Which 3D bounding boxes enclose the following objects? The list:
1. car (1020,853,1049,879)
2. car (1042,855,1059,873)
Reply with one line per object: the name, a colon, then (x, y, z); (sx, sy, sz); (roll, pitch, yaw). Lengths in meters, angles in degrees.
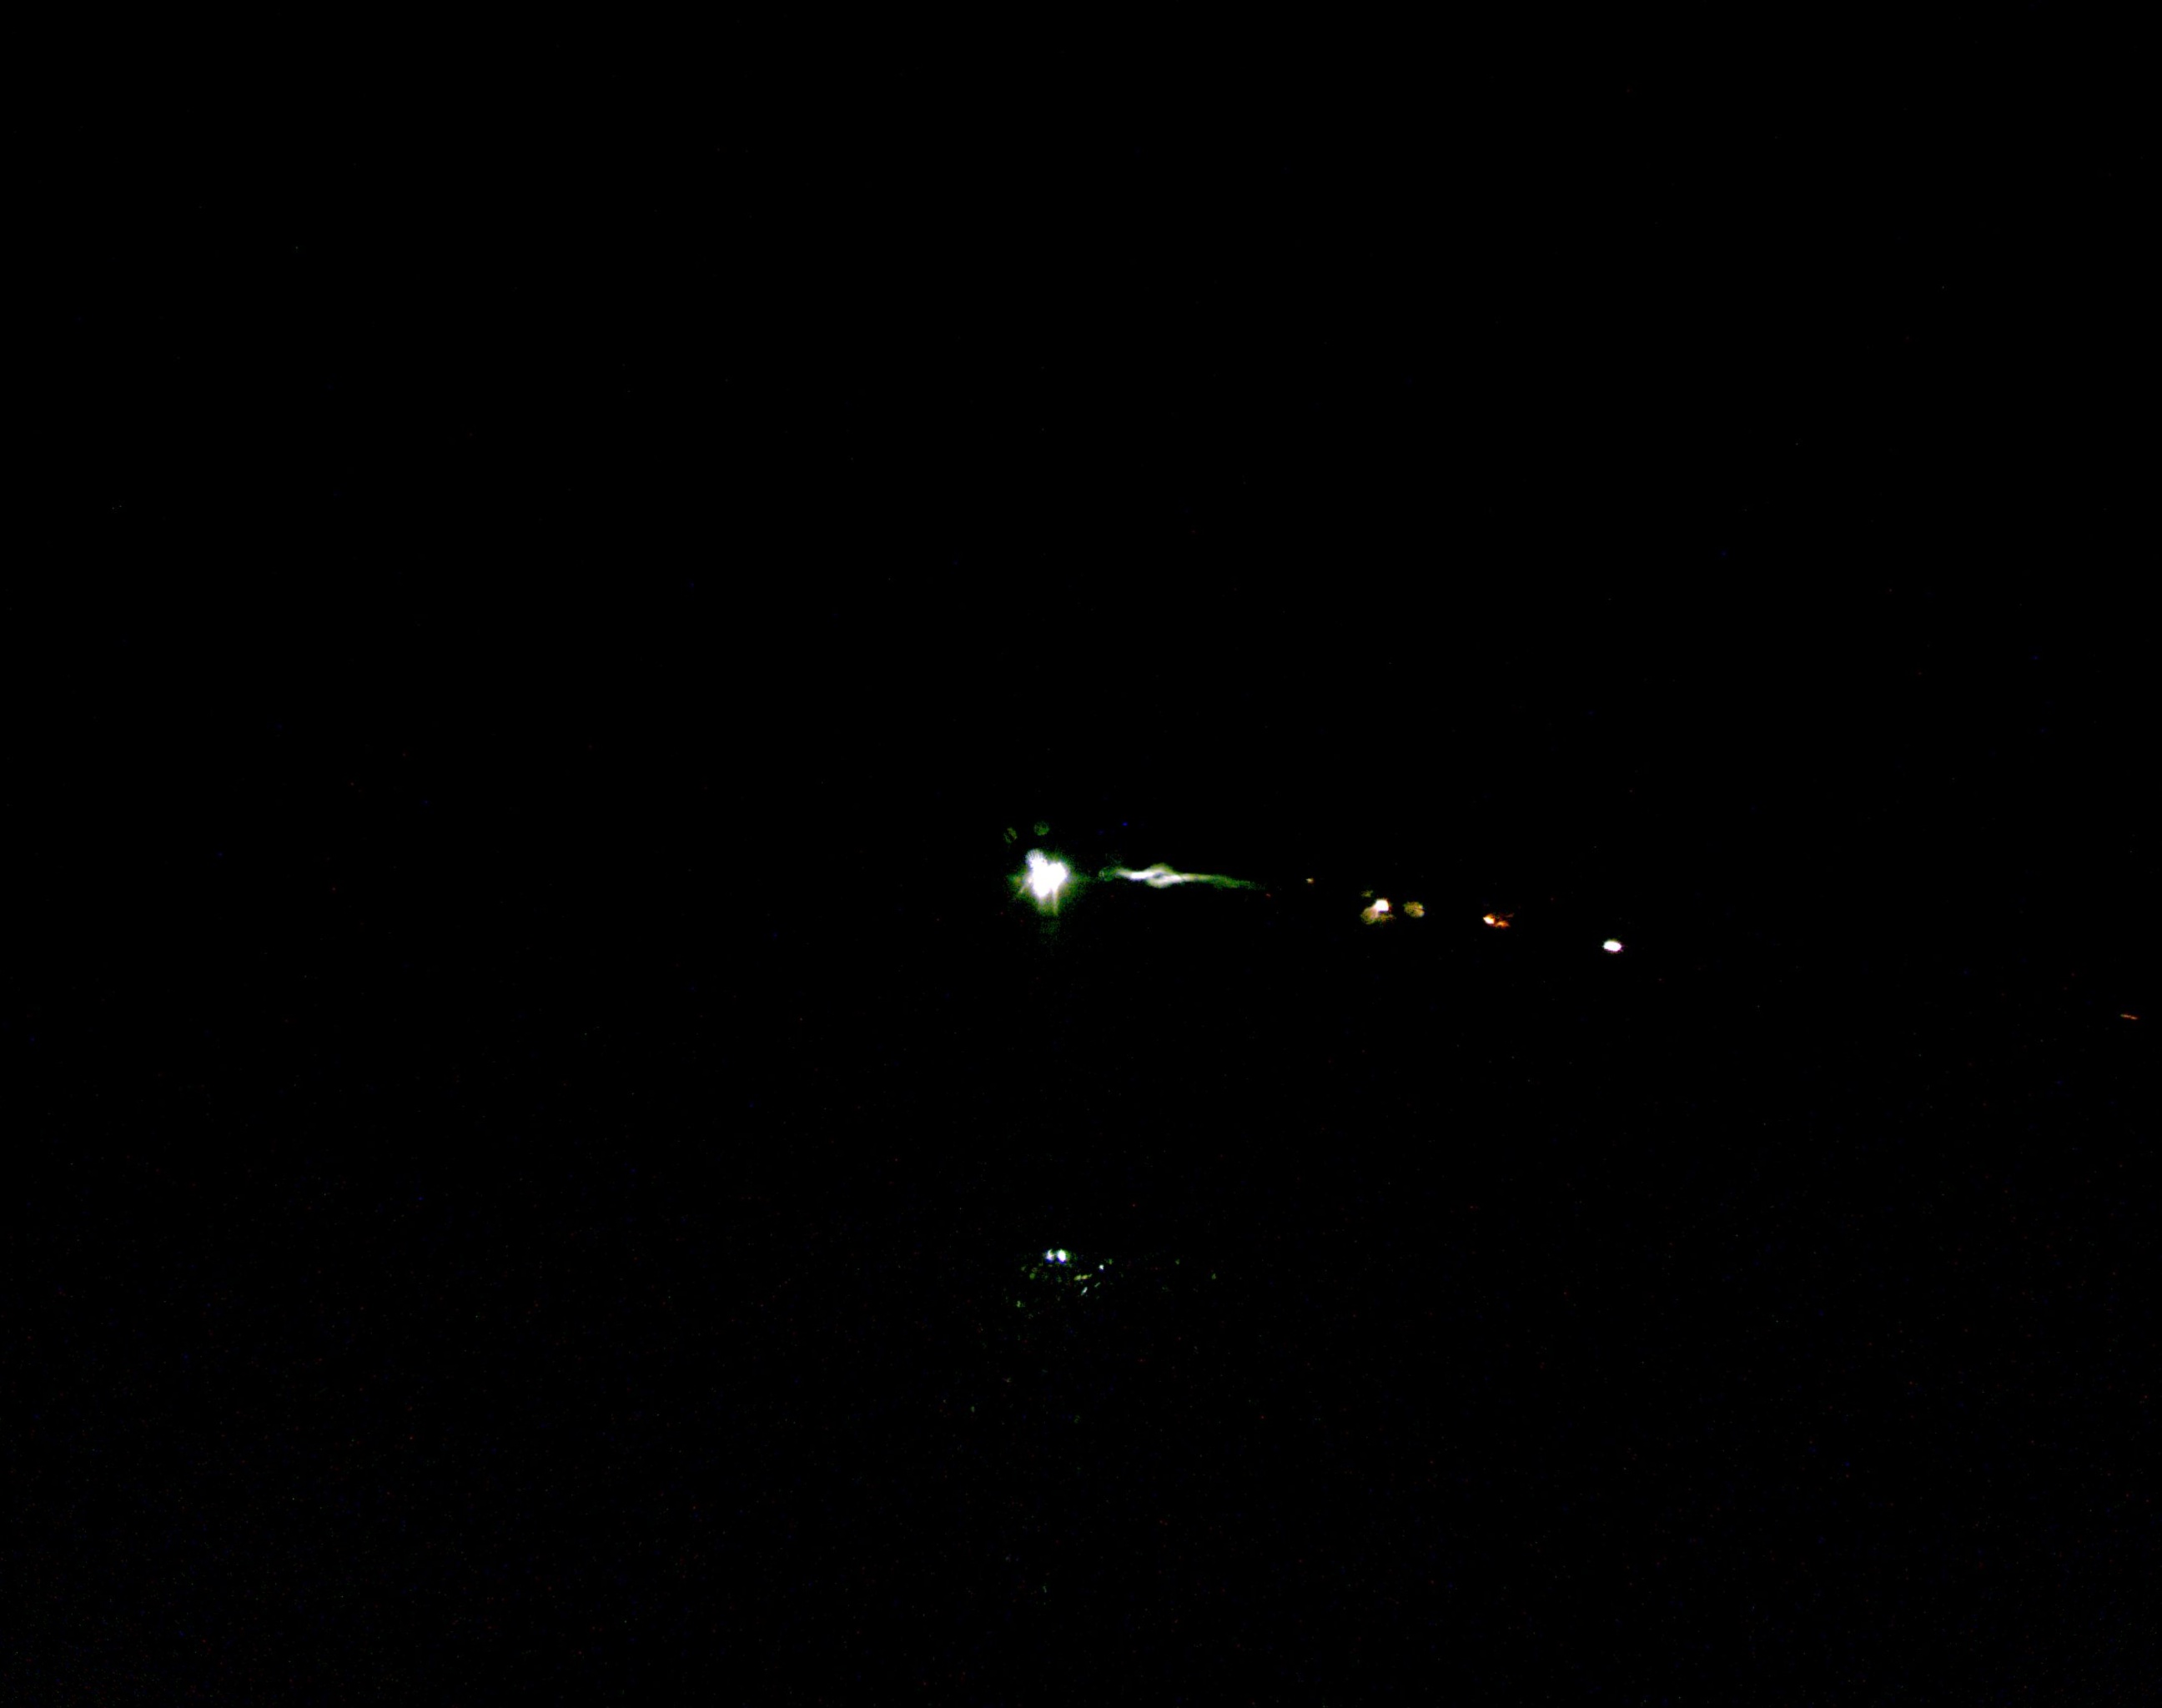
car: (-3.734, 1.007, 62.211); (2.203, 2.001, 4.207); (-2, -1, -2)
car: (-3.868, 1.273, 94.445); (1.999, 2.002, 3.997); (-2, 2, -3)
